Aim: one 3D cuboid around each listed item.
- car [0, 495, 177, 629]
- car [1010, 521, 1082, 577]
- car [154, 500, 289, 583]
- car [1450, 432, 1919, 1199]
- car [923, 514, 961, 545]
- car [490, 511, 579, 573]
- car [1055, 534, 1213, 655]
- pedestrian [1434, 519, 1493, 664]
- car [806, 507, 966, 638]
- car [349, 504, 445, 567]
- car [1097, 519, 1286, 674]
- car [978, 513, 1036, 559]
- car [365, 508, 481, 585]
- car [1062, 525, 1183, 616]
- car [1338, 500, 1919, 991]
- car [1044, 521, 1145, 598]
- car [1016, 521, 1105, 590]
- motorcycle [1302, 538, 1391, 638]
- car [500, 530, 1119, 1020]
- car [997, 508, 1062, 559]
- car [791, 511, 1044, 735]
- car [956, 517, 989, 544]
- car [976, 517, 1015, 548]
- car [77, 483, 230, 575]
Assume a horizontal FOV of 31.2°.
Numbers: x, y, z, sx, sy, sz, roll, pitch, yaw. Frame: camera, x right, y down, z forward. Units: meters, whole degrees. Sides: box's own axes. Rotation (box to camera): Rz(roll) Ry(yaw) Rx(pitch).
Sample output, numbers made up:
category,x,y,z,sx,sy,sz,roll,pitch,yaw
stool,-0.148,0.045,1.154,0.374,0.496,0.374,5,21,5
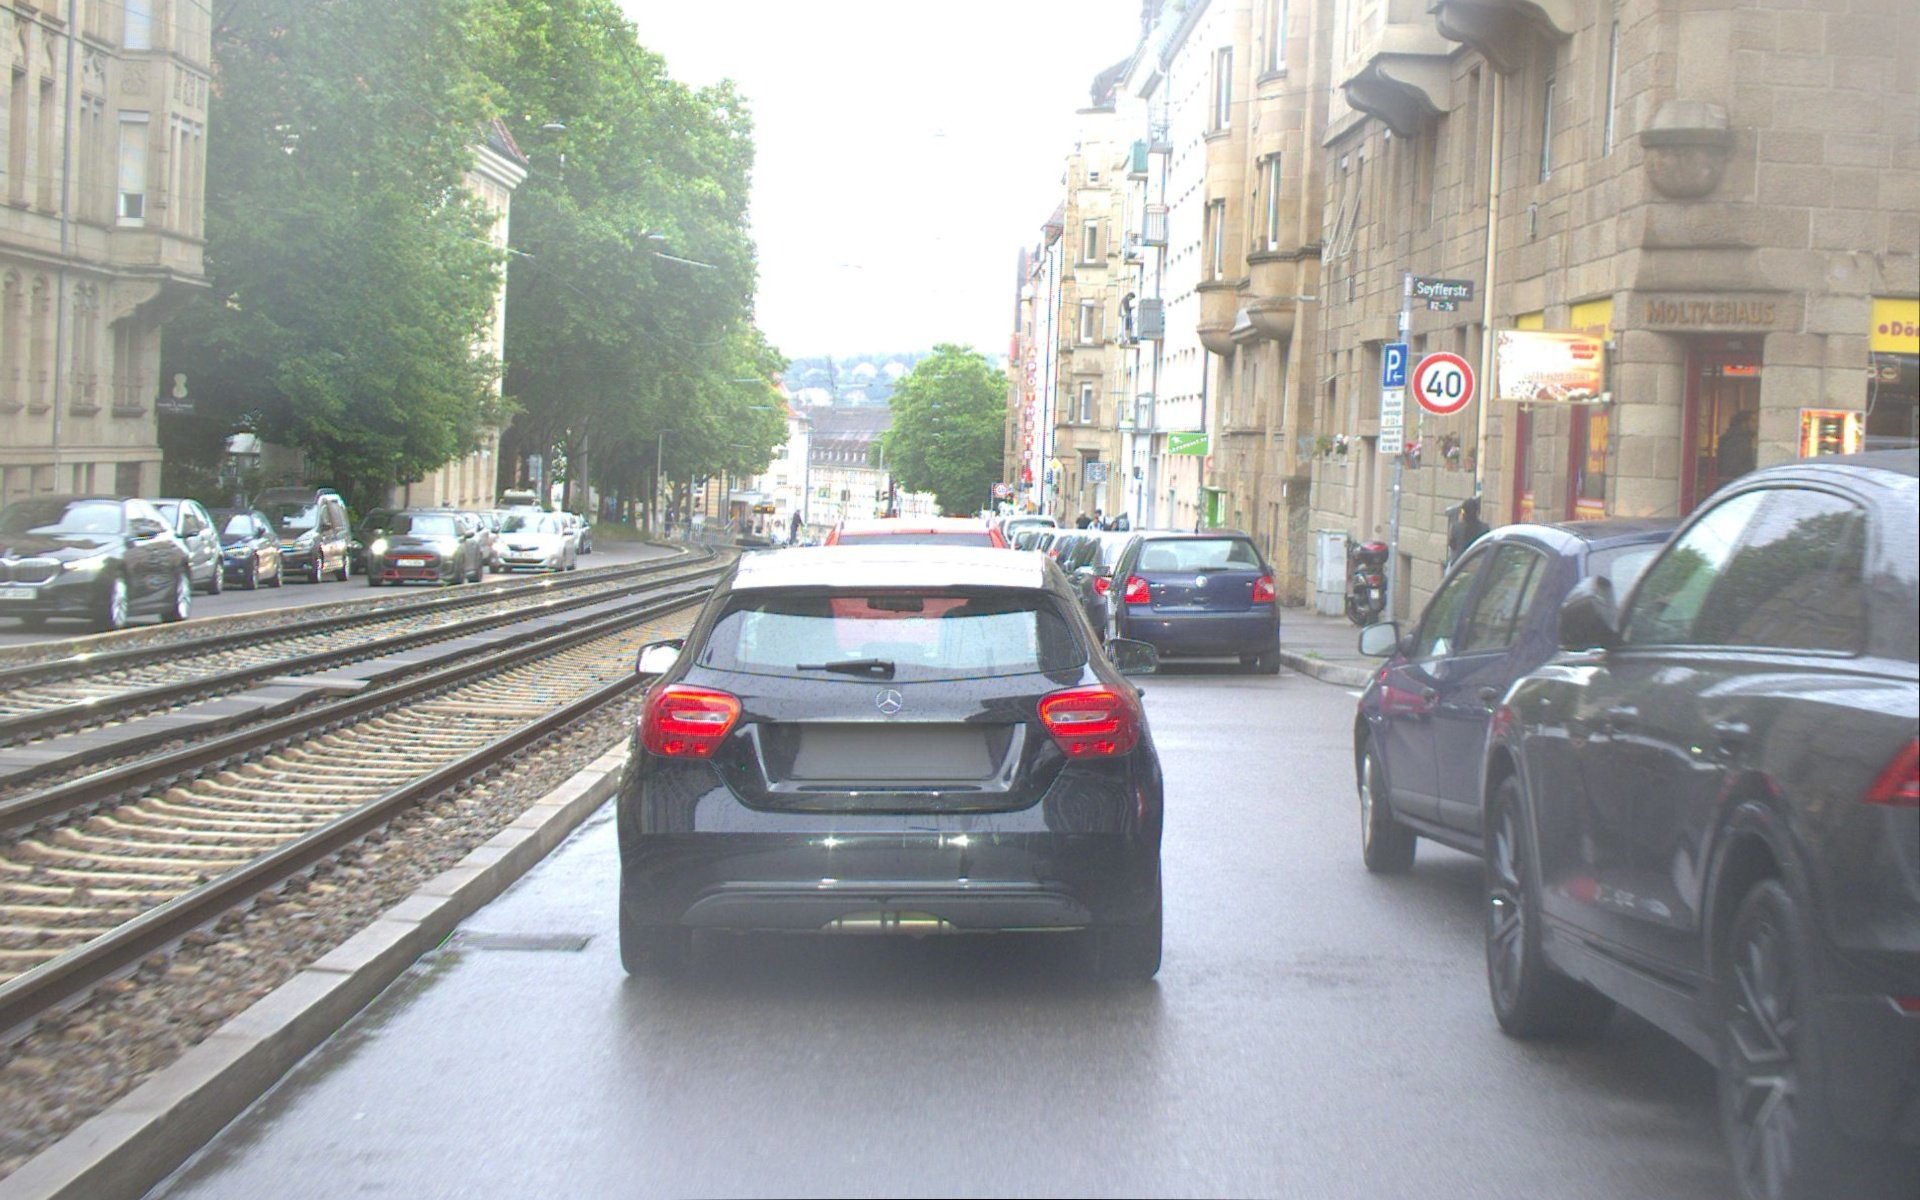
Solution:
category,x,y,z,sx,sy,sz,roll,pitch,yaw
car,-9.890,-0.446,37.783,1.695,1.384,3.481,1,1,1
car,2.088,-1.268,84.338,1.613,1.313,4.000,1,1,0
car,-13.069,-1.058,61.000,1.569,1.408,3.481,1,1,1
car,2.420,0.498,8.267,1.750,1.664,4.704,1,1,0
car,-0.797,-3.060,148.951,1.613,1.313,4.000,1,1,0
car,-10.009,-1.382,81.085,1.569,1.408,3.481,1,1,1
car,2.000,-0.102,40.470,1.613,1.313,4.000,1,1,0
pedestrian,5.153,-0.094,35.186,0.454,1.461,0.610,2,1,-1
car,-0.770,-0.333,37.050,1.613,1.313,4.000,1,1,0
car,-13.008,-1.494,79.613,1.569,1.408,3.481,1,1,1
car,2.321,-0.079,35.294,1.621,1.479,4.000,1,1,0
car,1.390,-1.932,102.773,1.613,1.313,4.000,1,1,0
car,-10.110,-1.026,64.884,1.569,1.408,3.481,1,1,1
car,2.455,-0.477,52.598,1.613,1.313,4.000,1,1,0
car,2.517,0.432,13.313,1.613,1.599,4.000,1,1,0
car,2.399,-0.759,62.058,1.613,1.313,4.000,1,1,0
car,1.988,-0.919,69.000,1.613,1.313,4.000,1,1,0
motorcycle,5.334,-0.190,47.582,0.880,1.311,2.396,2,1,-1
car,-0.418,0.496,12.483,1.866,1.447,4.000,-1,2,1
car,1.832,-1.778,91.558,1.613,1.313,4.000,1,1,0
car,-0.308,0.100,24.570,1.649,1.447,4.001,0,2,-1
car,0.611,-3.502,172.163,1.613,1.313,4.000,1,1,0
car,1.518,-2.932,148.624,1.613,1.313,4.000,1,1,0
car,-12.991,-1.153,55.545,1.569,1.408,3.481,1,1,1
